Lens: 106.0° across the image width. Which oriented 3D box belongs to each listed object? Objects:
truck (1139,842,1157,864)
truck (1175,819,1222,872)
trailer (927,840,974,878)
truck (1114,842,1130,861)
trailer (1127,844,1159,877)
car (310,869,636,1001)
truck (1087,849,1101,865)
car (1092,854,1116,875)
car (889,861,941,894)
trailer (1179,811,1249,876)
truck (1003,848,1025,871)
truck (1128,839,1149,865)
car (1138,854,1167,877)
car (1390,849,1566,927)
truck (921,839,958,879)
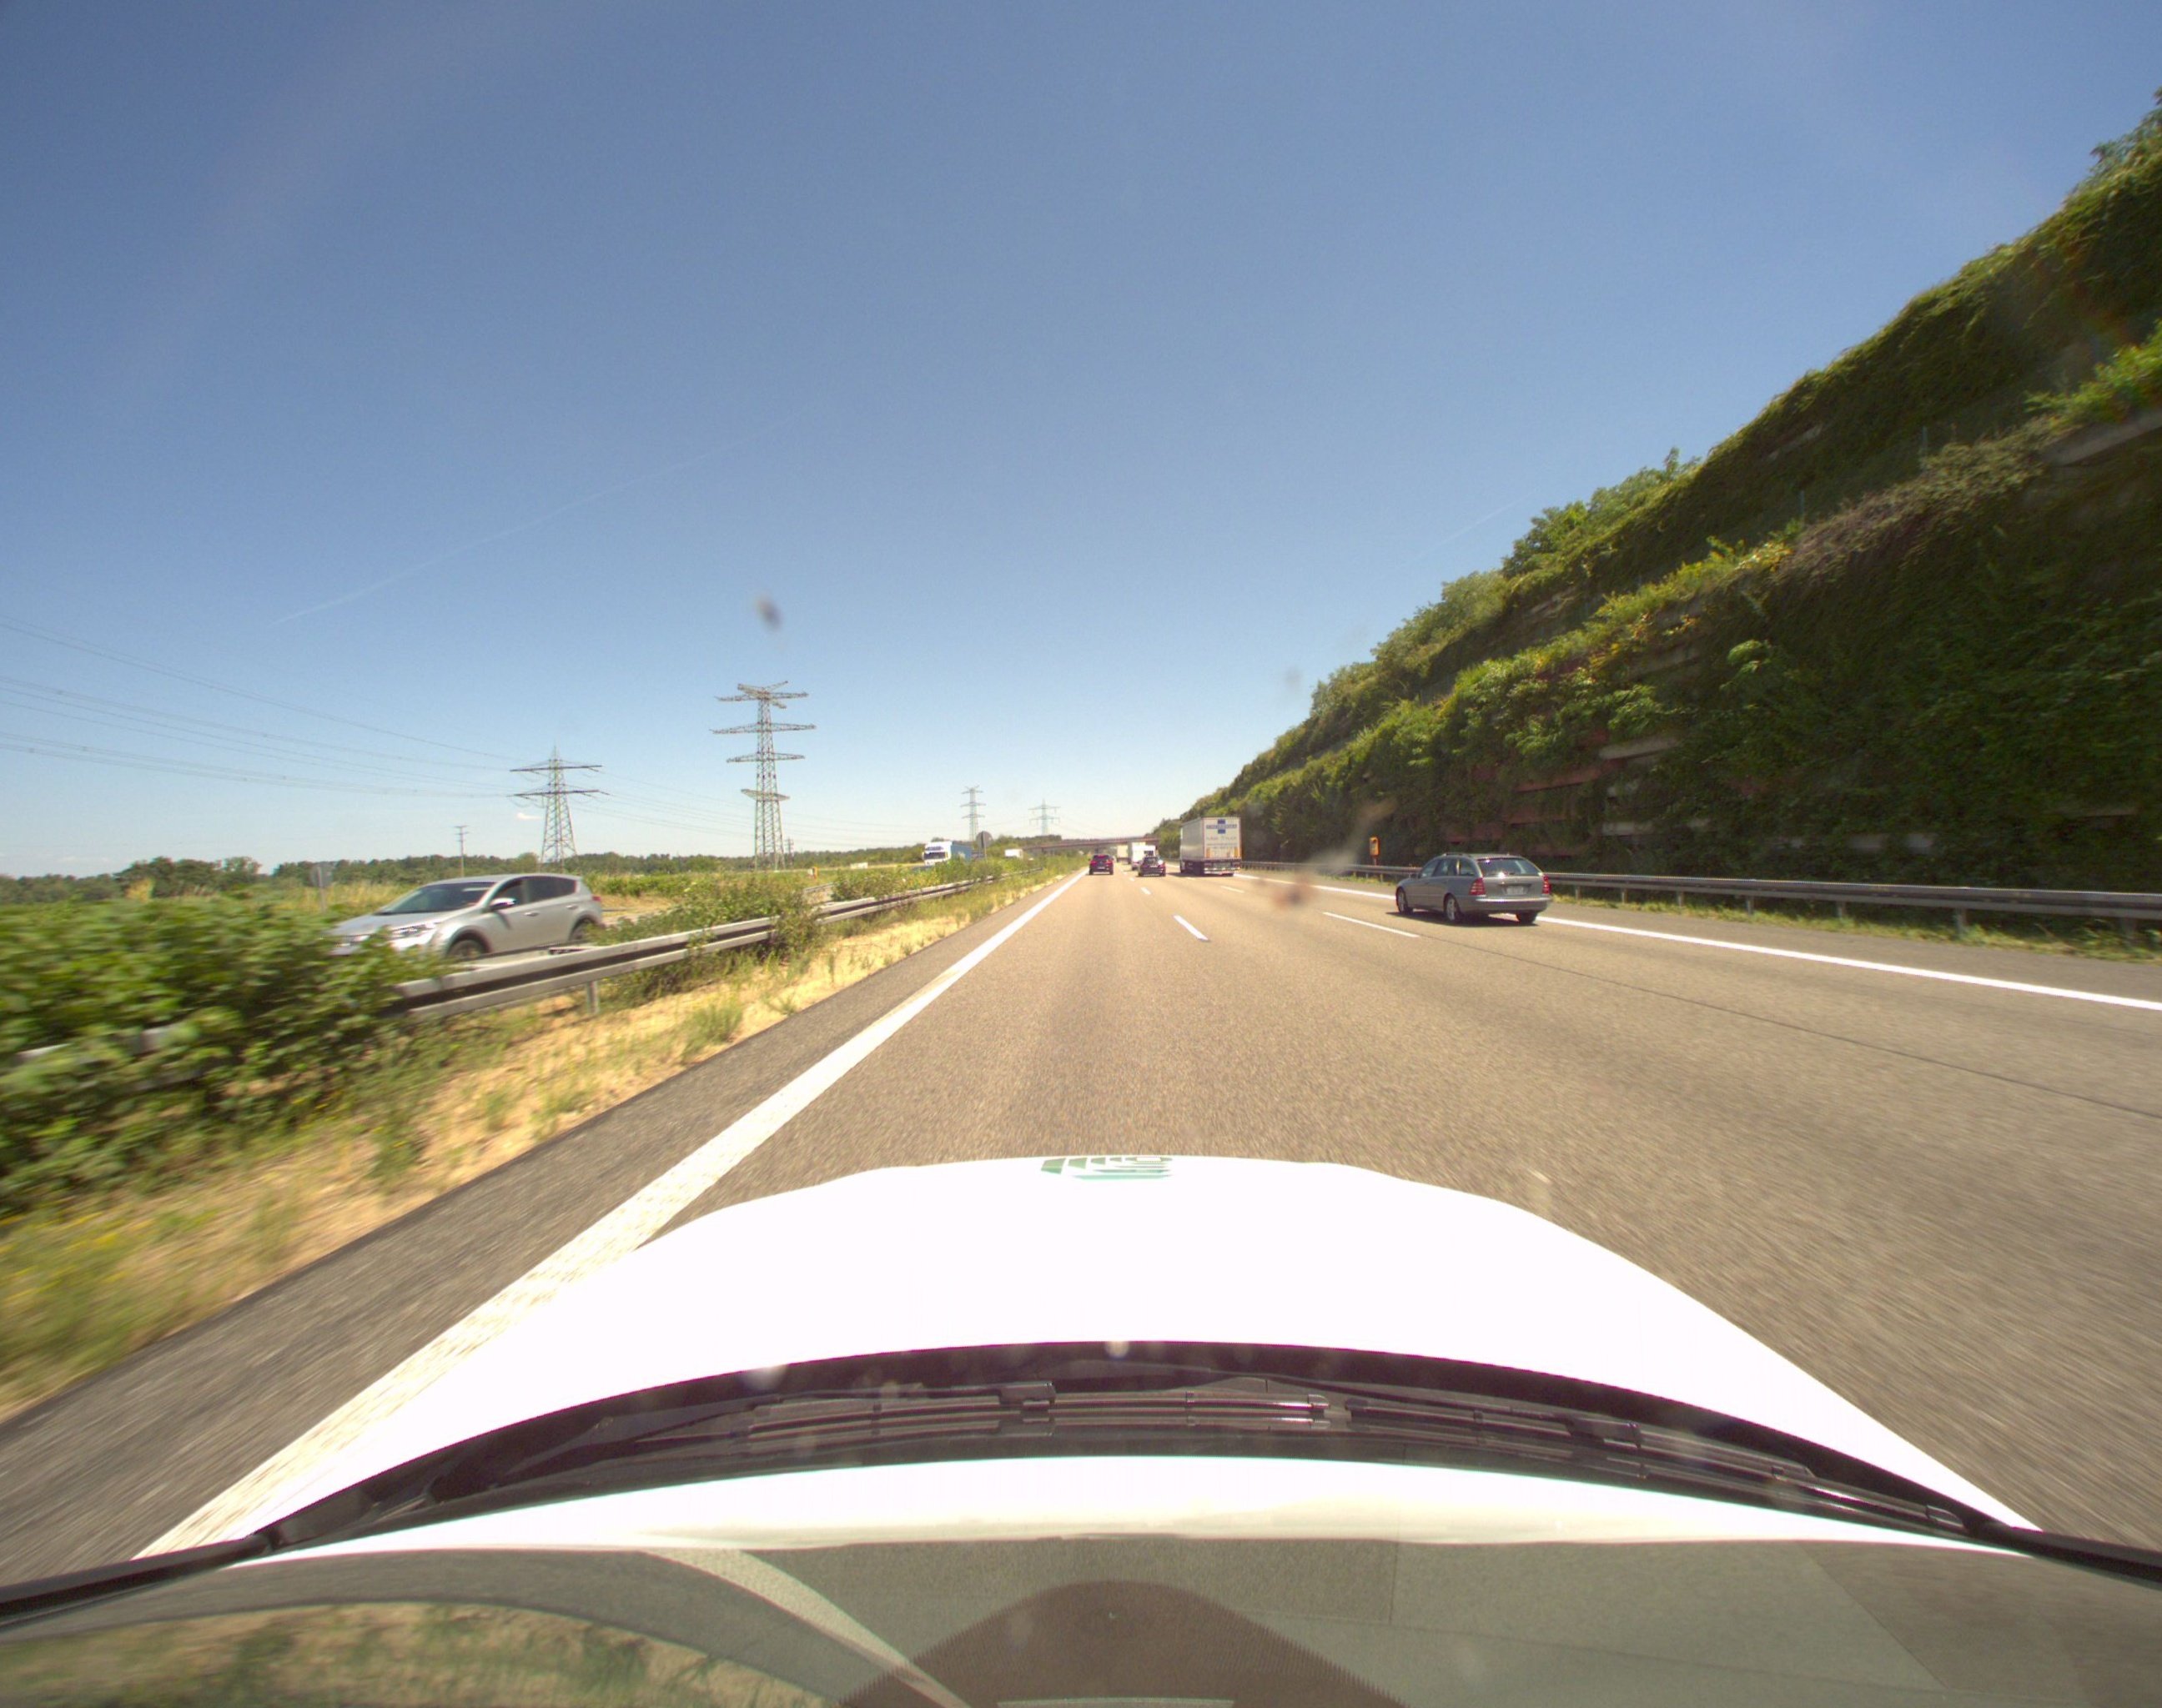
[{"bbox_3d":[14.273,-0.193,174.715,3.107,4.280,10.170,-2,0,2],"label":"truck"},{"bbox_3d":[9.672,-0.669,67.512,3.124,4.141,5.505,-2,0,1],"label":"truck"},{"bbox_3d":[-15.118,0.558,95.688,2.683,3.937,13.914,-2,0,2],"label":"trailer"},{"bbox_3d":[9.854,-0.608,195.867,3.397,4.280,10.610,-1,0,2],"label":"truck"},{"bbox_3d":[6.462,0.646,86.007,2.602,3.213,9.953,-2,0,1],"label":"trailer"},{"bbox_3d":[-9.560,1.152,13.426,1.829,1.668,4.587,-2,0,1],"label":"car"},{"bbox_3d":[3.703,0.855,232.228,3.948,4.113,9.953,-2,0,1],"label":"truck"},{"bbox_3d":[1.883,0.847,67.404,1.823,1.670,4.001,-3,0,1],"label":"car"},{"bbox_3d":[-8.583,1.189,42.524,1.746,1.486,4.202,-3,0,0],"label":"car"},{"bbox_3d":[9.478,-0.684,59.927,3.171,4.121,13.435,-2,0,1],"label":"trailer"},{"bbox_3d":[-12.676,1.021,154.425,2.863,4.176,10.573,-2,0,2],"label":"truck"},{"bbox_3d":[10.215,-0.313,146.271,3.107,4.280,11.937,-2,0,2],"label":"truck"},{"bbox_3d":[5.145,0.771,58.736,1.823,1.525,4.002,-3,0,2],"label":"car"},{"bbox_3d":[8.369,0.652,17.669,1.679,1.428,4.453,-1,0,1],"label":"car"},{"bbox_3d":[-15.316,0.553,88.499,2.686,4.068,5.803,-2,0,1],"label":"truck"}]
